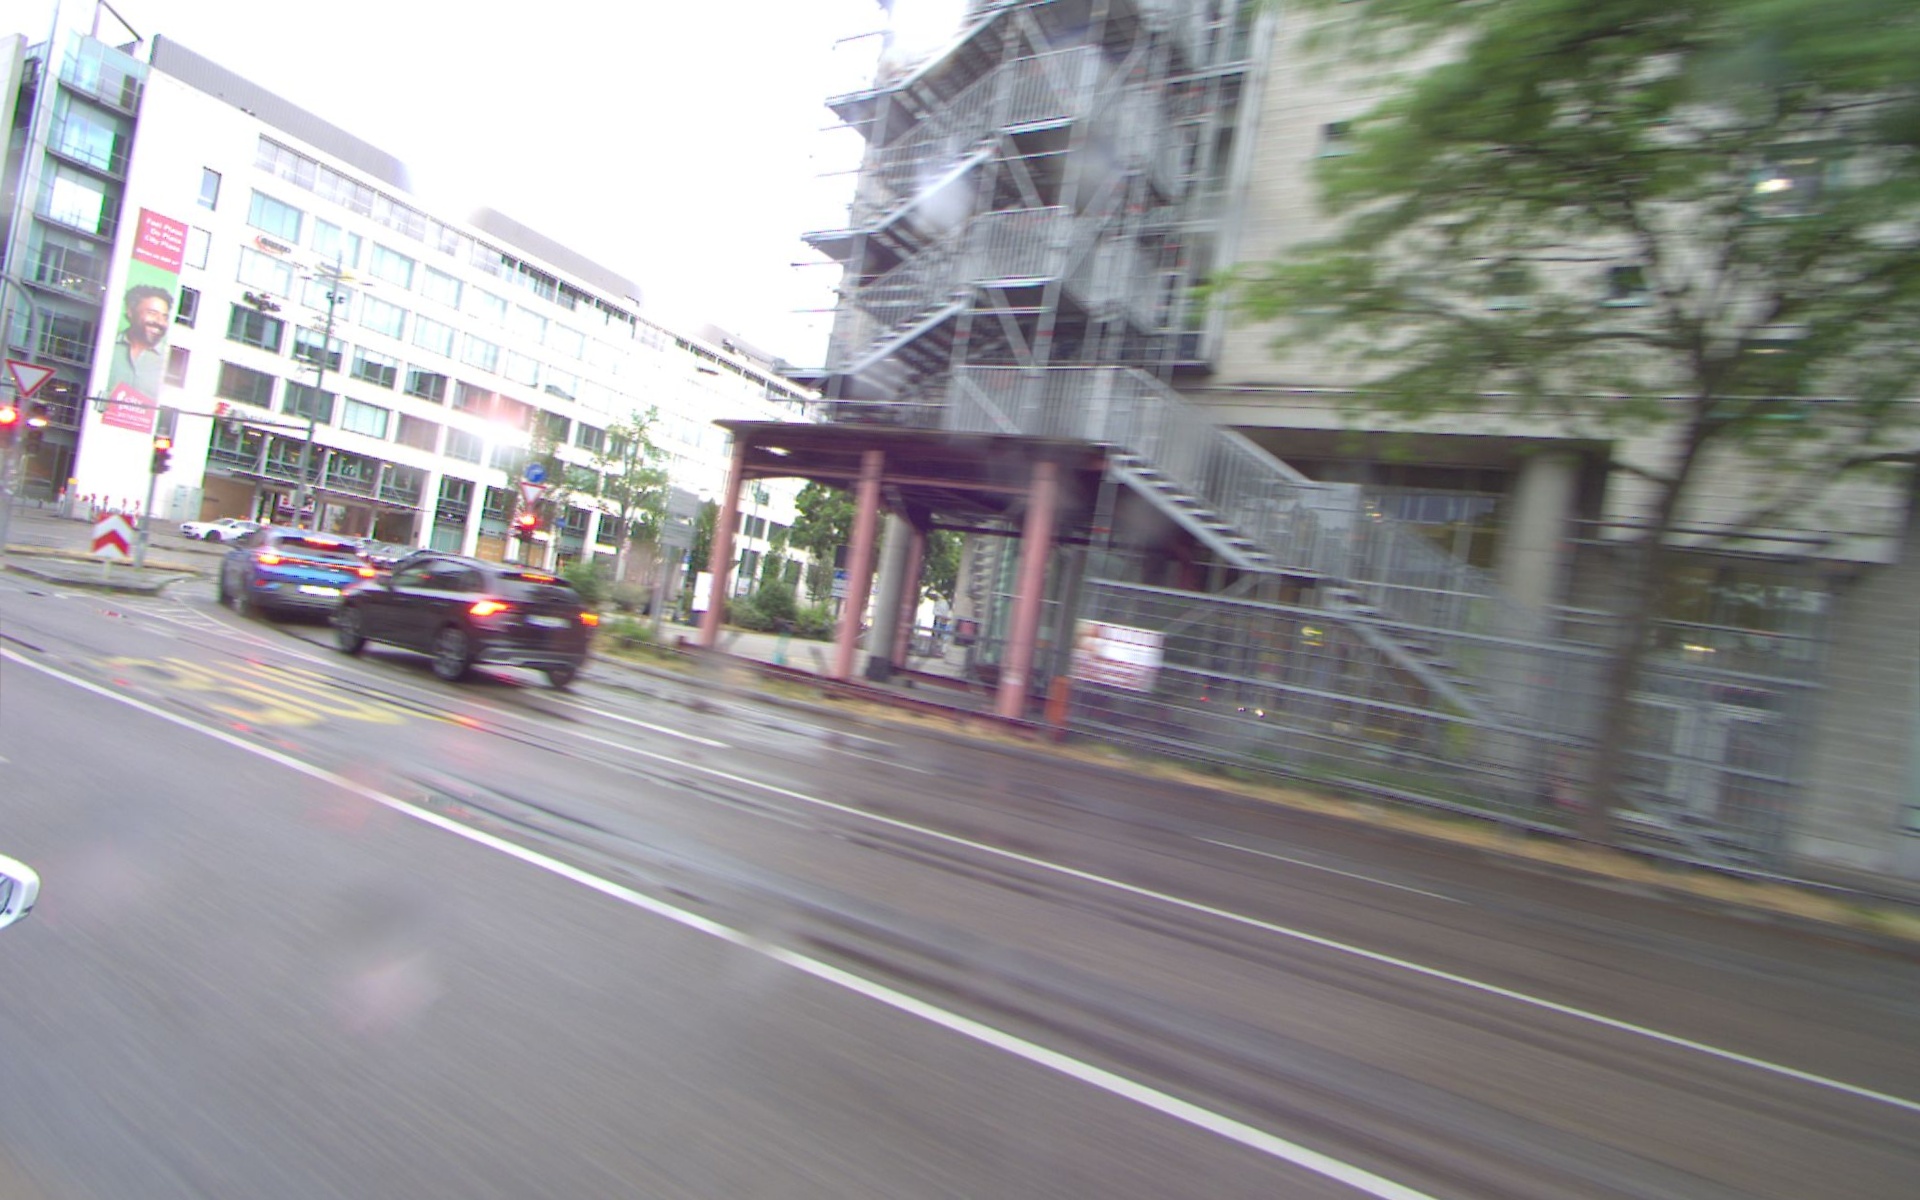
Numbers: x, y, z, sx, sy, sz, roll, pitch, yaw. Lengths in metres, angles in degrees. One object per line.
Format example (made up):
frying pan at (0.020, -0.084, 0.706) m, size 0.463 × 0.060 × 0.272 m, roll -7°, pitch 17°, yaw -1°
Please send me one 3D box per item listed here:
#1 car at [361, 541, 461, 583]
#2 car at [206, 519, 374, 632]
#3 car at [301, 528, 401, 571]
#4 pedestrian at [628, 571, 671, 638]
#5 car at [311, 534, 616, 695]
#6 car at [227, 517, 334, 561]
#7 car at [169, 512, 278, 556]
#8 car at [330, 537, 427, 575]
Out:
car at (-28.621, -1.947, 52.582) m, size 1.691 × 1.480 × 4.469 m, roll 8°, pitch -2°, yaw 19°
car at (-12.178, -0.502, 18.155) m, size 1.699 × 1.547 × 4.373 m, roll 10°, pitch -2°, yaw -43°
car at (-33.966, -2.791, 56.277) m, size 1.962 × 1.616 × 4.470 m, roll 8°, pitch -2°, yaw 17°
pedestrian at (-9.200, 0.124, 29.783) m, size 0.676 × 1.874 × 1.046 m, roll 8°, pitch -1°, yaw -36°
car at (-6.789, 0.169, 13.637) m, size 4.080 × 1.557 × 1.781 m, roll 7°, pitch -2°, yaw 34°
car at (-37.289, -3.303, 55.352) m, size 1.963 × 1.616 × 4.469 m, roll 8°, pitch -2°, yaw 20°
car at (-40.784, -3.631, 55.871) m, size 1.962 × 1.616 × 4.470 m, roll 8°, pitch -2°, yaw 17°
car at (-31.333, -2.343, 54.334) m, size 1.690 × 1.363 × 4.470 m, roll 8°, pitch -2°, yaw 17°
